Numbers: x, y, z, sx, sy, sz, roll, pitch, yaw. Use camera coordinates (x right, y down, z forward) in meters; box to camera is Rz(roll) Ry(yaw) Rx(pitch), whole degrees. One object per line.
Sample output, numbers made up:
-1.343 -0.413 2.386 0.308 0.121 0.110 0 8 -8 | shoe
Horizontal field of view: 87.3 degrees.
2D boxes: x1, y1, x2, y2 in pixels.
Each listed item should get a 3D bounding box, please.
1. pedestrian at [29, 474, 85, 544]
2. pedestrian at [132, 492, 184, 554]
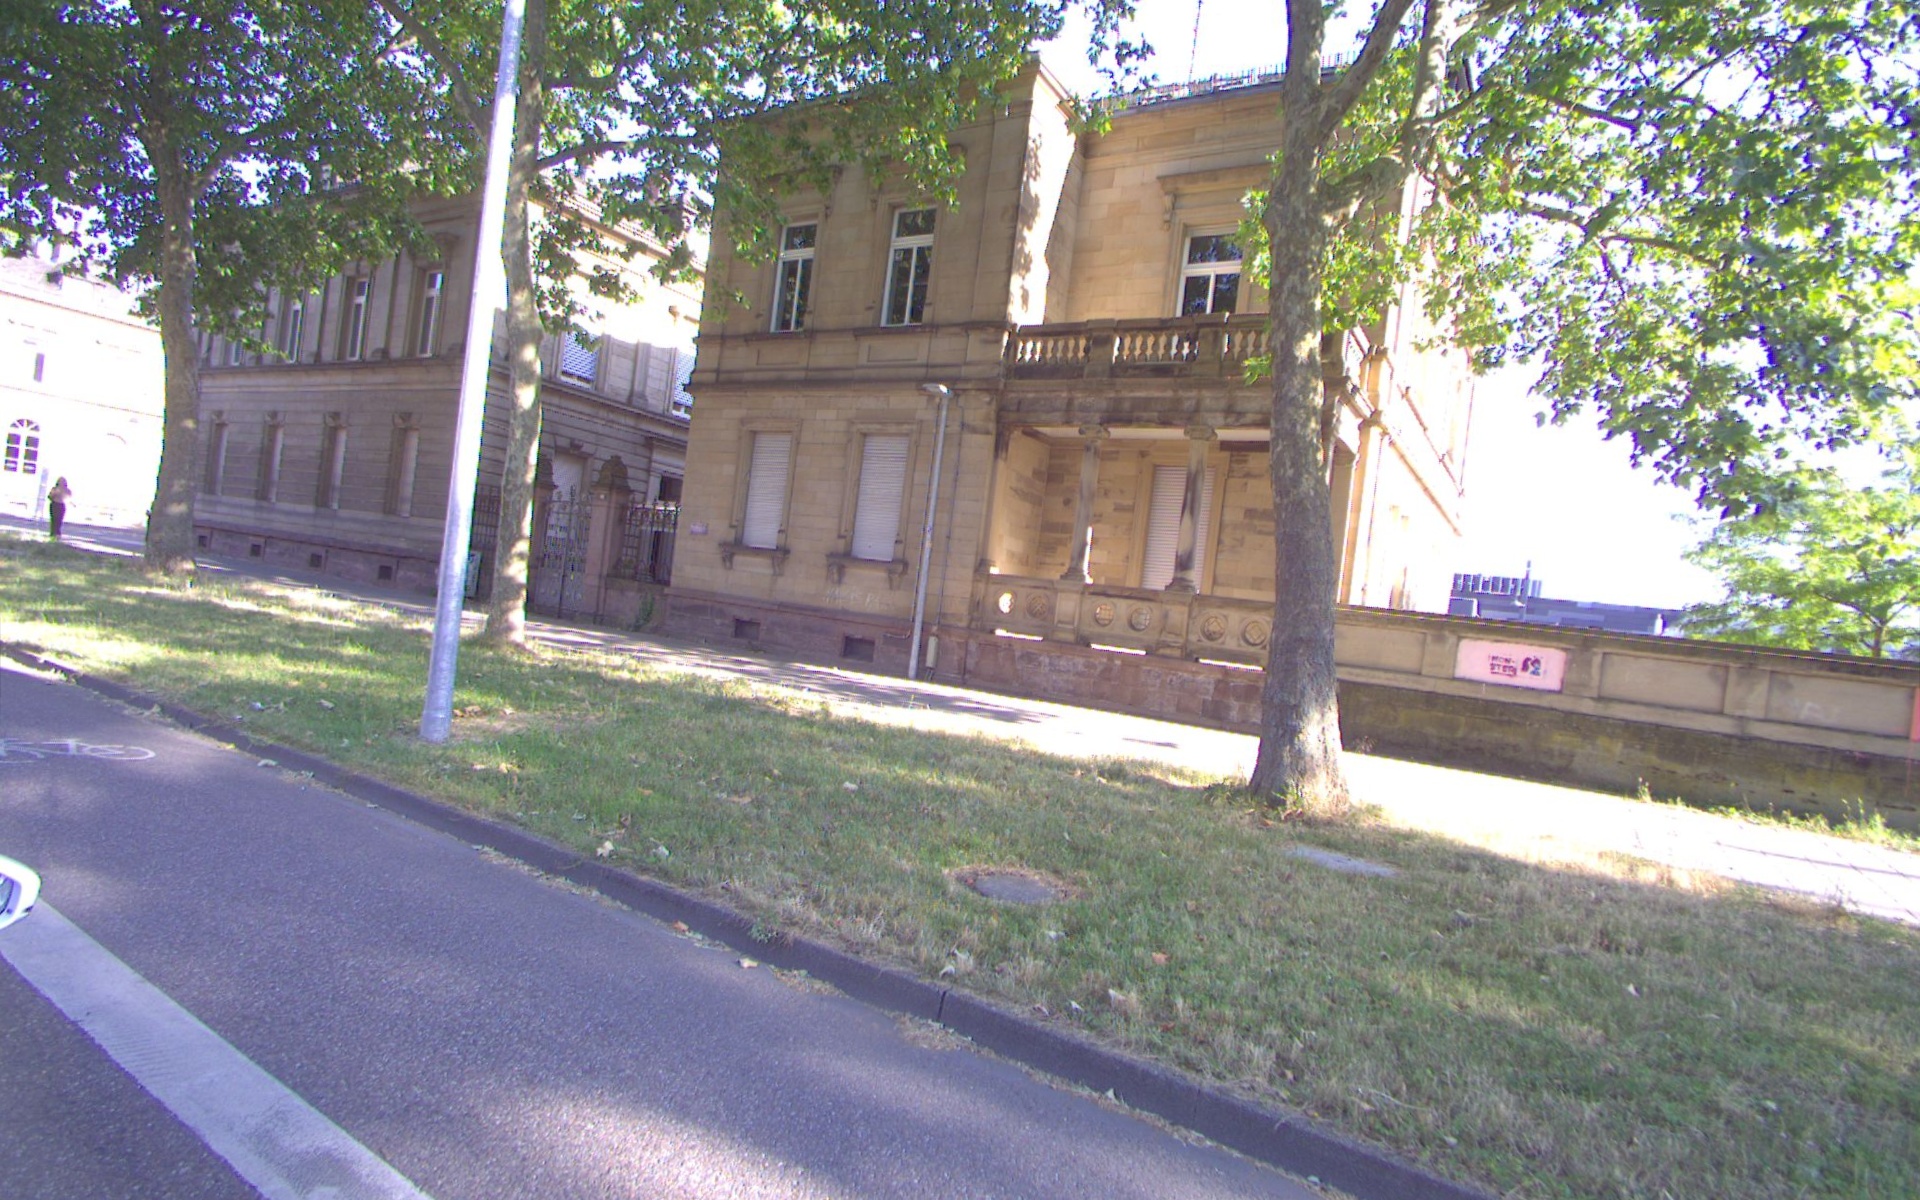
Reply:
-24.161 -2.434 26.914 1.025 1.731 0.770 7 1 34 | pedestrian
-22.875 -2.193 28.697 0.970 1.626 0.770 7 1 34 | pedestrian
